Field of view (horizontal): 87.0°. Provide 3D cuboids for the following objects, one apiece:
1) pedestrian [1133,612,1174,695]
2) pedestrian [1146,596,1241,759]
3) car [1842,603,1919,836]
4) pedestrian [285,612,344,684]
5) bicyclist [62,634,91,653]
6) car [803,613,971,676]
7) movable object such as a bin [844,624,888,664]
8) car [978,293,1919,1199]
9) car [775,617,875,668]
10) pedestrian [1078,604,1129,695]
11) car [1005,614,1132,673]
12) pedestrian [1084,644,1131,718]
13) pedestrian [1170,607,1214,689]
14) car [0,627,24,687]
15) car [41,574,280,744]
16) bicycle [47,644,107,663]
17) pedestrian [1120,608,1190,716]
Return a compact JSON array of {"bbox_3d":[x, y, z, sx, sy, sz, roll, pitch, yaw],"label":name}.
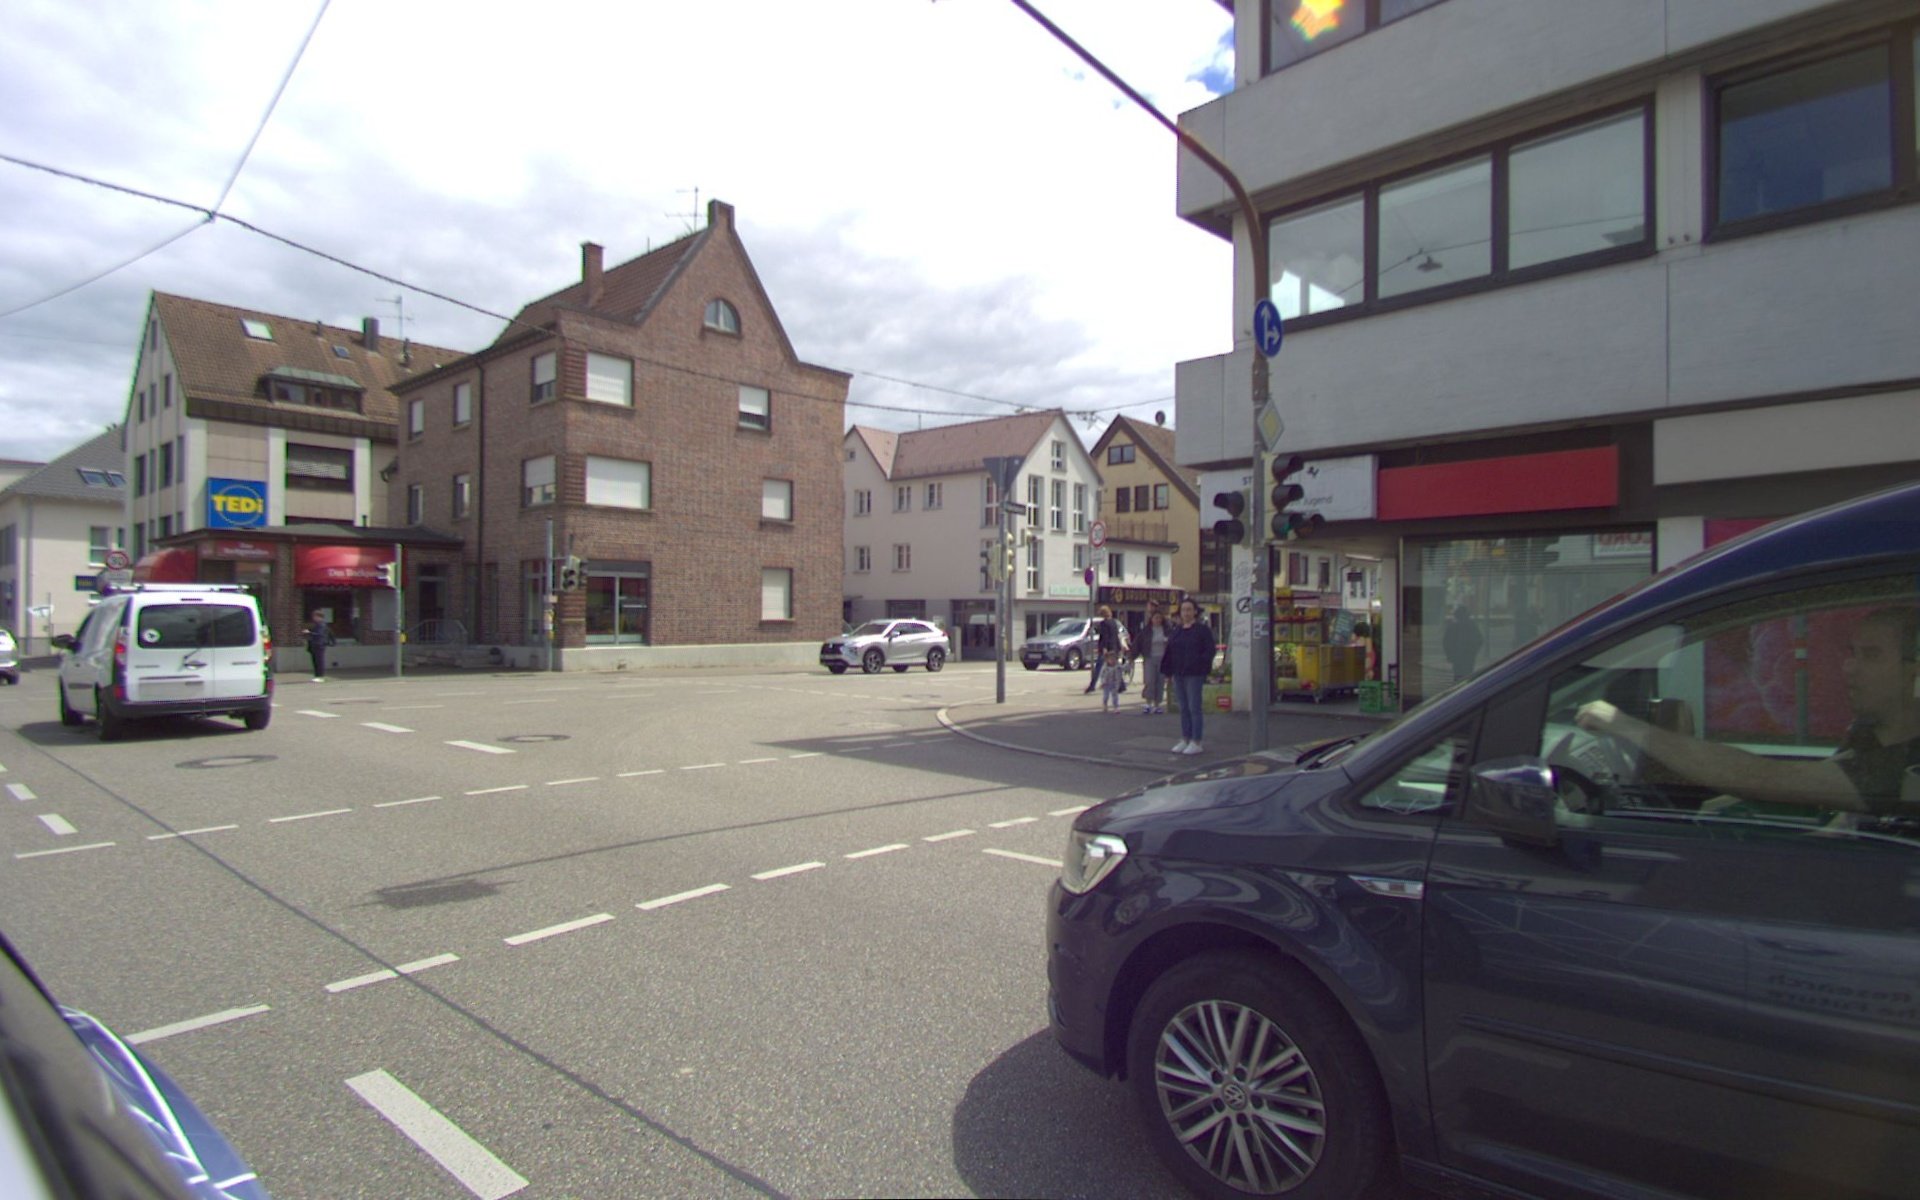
[{"bbox_3d":[3.839,1.058,20.131,0.771,1.613,0.817,0,-2,9],"label":"pedestrian"},{"bbox_3d":[2.502,0.800,10.837,0.709,1.657,0.682,0,-1,-44],"label":"pedestrian"},{"bbox_3d":[8.155,0.735,6.046,4.285,1.486,2.022,-2,-1,43],"label":"car"},{"bbox_3d":[-15.989,1.185,25.087,0.839,1.736,0.907,0,-2,-1],"label":"pedestrian"},{"bbox_3d":[-37.738,1.850,43.243,0.488,0.814,0.892,0,-2,-5],"label":"bicyclist"},{"bbox_3d":[-2.140,1.370,31.186,2.000,1.782,5.184,-3,-3,44],"label":"car"},{"bbox_3d":[-4.022,1.856,43.207,1.145,1.637,1.498,-1,0,44],"label":"movable object such as a bin"},{"bbox_3d":[2.523,0.479,1.962,4.873,1.891,1.929,-1,-2,40],"label":"car"},{"bbox_3d":[-5.235,1.625,39.086,3.700,1.877,1.845,-2,-3,41],"label":"car"},{"bbox_3d":[2.856,0.967,20.072,0.815,1.753,0.840,-1,-1,20],"label":"pedestrian"},{"bbox_3d":[3.560,1.401,32.718,1.999,1.768,4.292,-2,-3,41],"label":"car"},{"bbox_3d":[2.248,1.227,15.505,0.552,1.065,0.663,-1,-1,-4],"label":"pedestrian"},{"bbox_3d":[5.117,1.042,22.293,0.815,1.753,0.840,-1,-1,20],"label":"pedestrian"},{"bbox_3d":[-25.825,1.462,26.219,3.967,1.499,1.735,-1,-3,39],"label":"car"},{"bbox_3d":[-10.851,0.735,13.643,4.110,1.945,1.795,-2,-3,41],"label":"car"},{"bbox_3d":[-37.710,2.275,43.238,0.655,0.734,2.288,0,-2,-3],"label":"bicycle"},{"bbox_3d":[2.945,0.917,15.365,0.809,1.566,0.847,-1,-1,-5],"label":"pedestrian"}]
